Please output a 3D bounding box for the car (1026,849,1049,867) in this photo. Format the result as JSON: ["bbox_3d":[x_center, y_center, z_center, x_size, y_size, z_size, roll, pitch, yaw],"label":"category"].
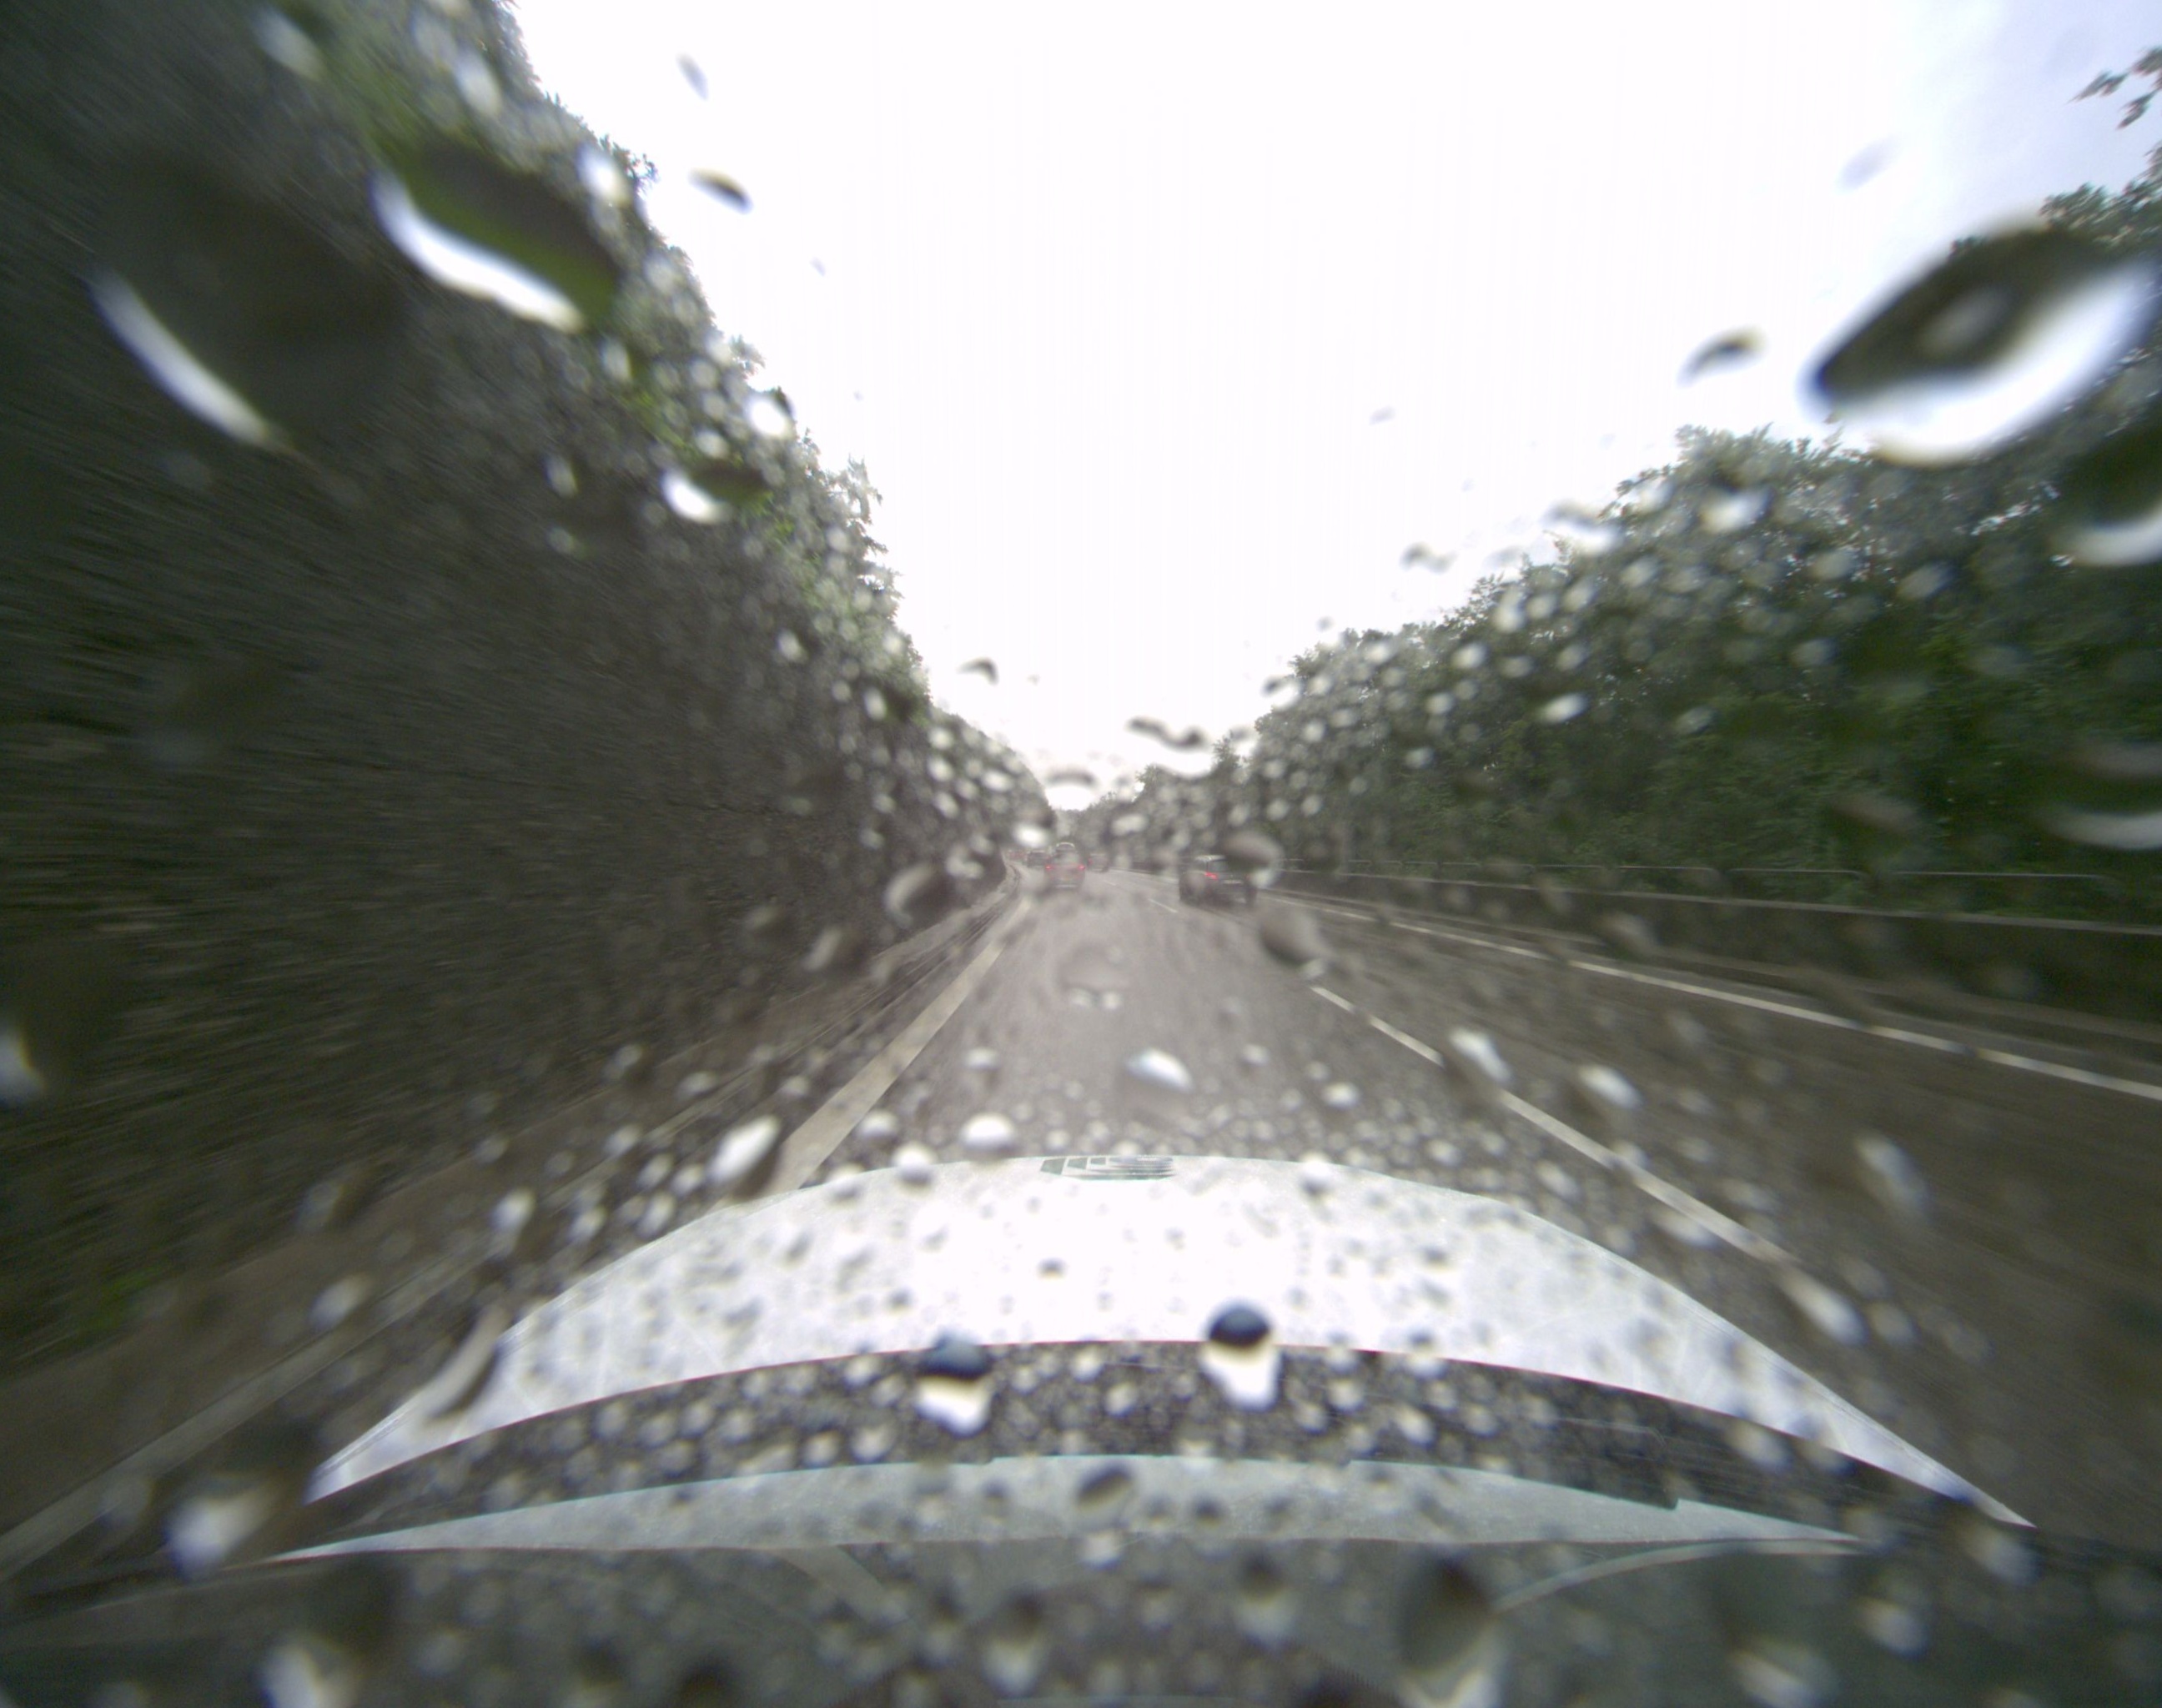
[{"bbox_3d":[-4.047,0.401,75.944,1.990,1.684,3.992,0,-1,-5],"label":"car"}]

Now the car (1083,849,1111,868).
[{"bbox_3d":[1.306,0.376,67.769,1.989,1.552,3.996,-1,0,-3],"label":"car"}]

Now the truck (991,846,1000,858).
[{"bbox_3d":[-21.774,-0.517,206.653,1.992,2.751,5.572,3,0,-8],"label":"truck"}]

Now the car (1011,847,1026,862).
[{"bbox_3d":[-9.004,0.082,117.179,1.991,2.014,3.990,0,-1,-7],"label":"car"}]

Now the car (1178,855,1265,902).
[{"bbox_3d":[4.248,0.697,25.183,1.796,1.307,3.995,-1,0,-3],"label":"car"}]

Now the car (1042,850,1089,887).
[{"bbox_3d":[-0.762,0.632,36.482,1.989,1.552,3.996,0,-1,-3],"label":"car"}]
